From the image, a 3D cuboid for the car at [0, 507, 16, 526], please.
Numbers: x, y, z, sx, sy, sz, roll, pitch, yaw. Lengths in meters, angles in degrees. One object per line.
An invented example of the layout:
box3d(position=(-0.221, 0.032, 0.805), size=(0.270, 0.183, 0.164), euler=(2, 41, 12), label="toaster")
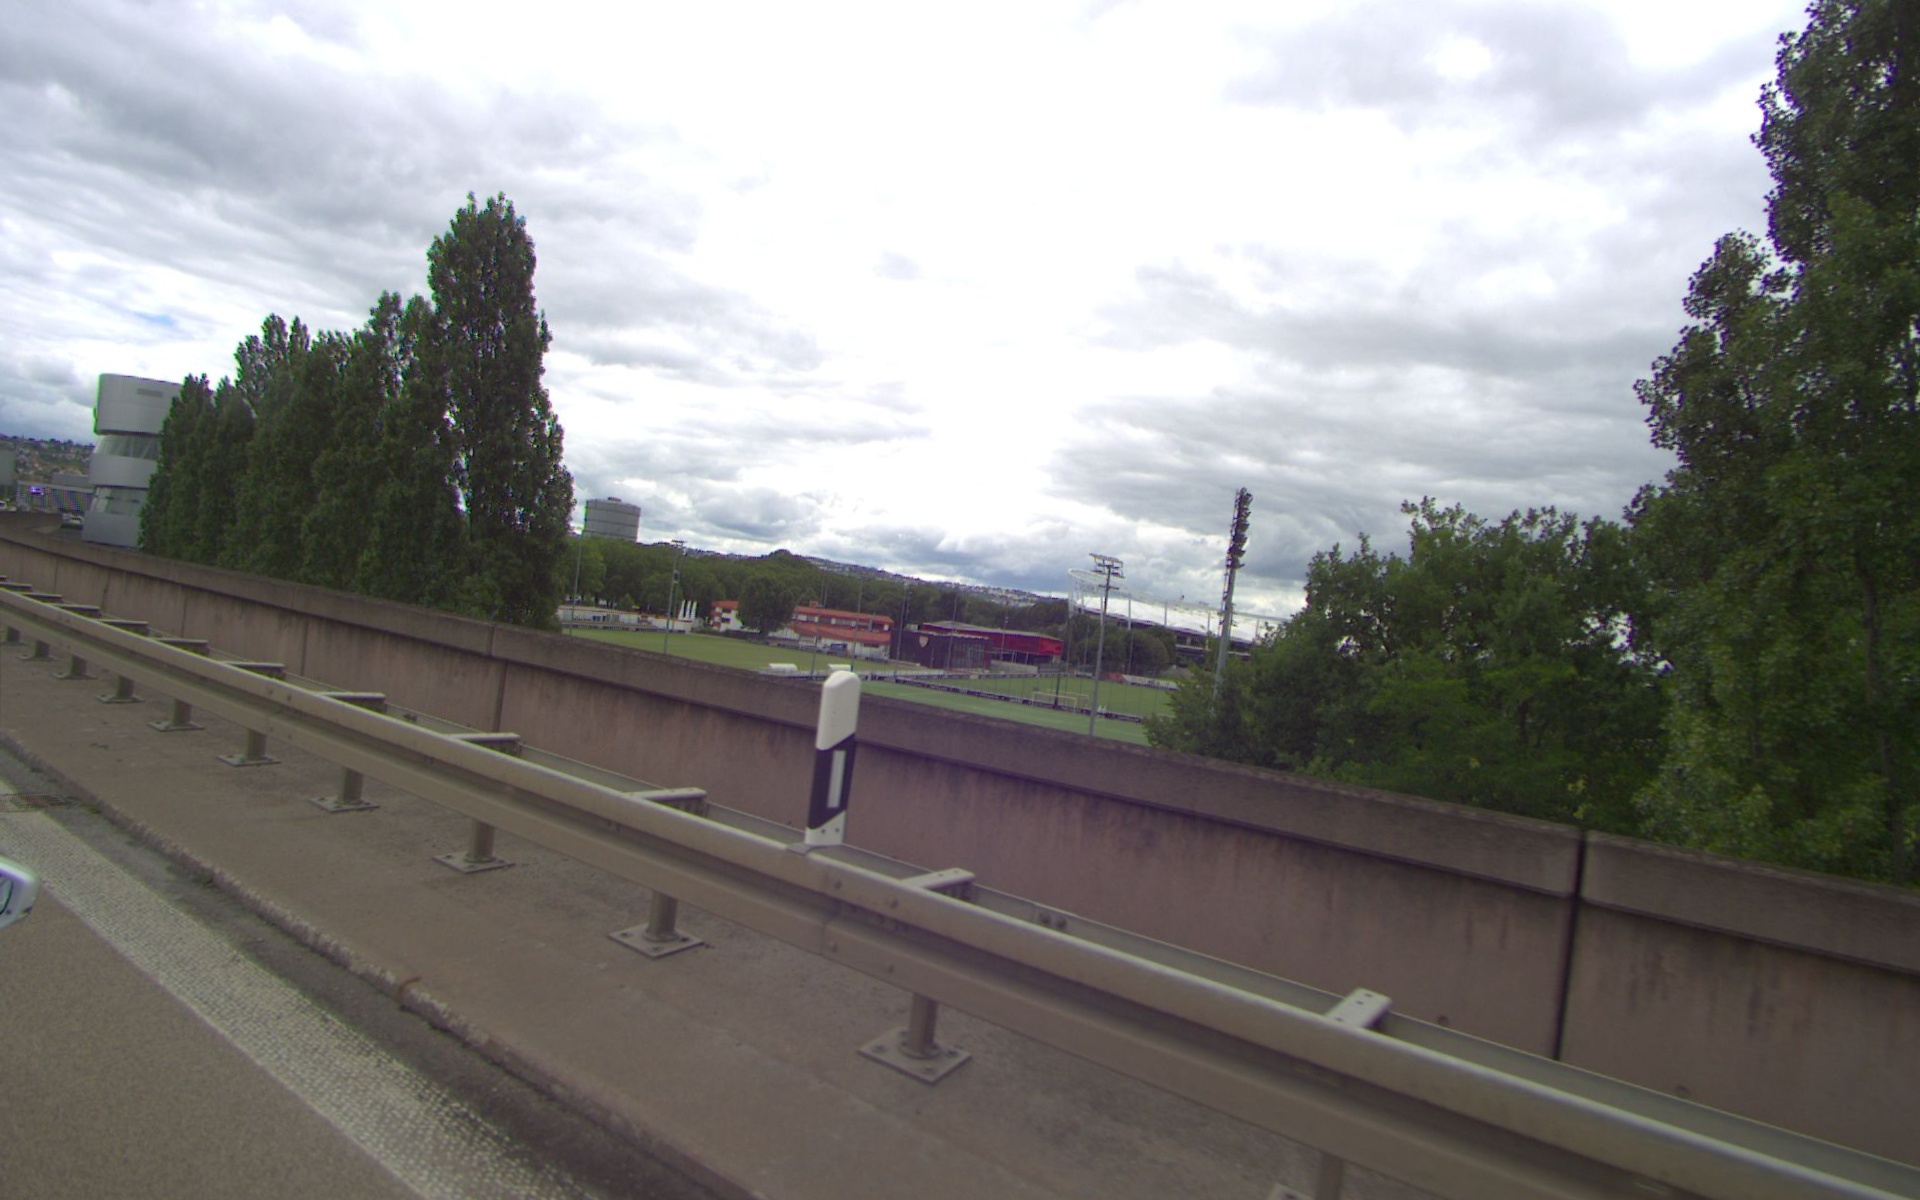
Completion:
box3d(position=(-91.593, -8.149, 95.443), size=(1.985, 1.552, 3.967), euler=(14, -6, -33), label="car")
